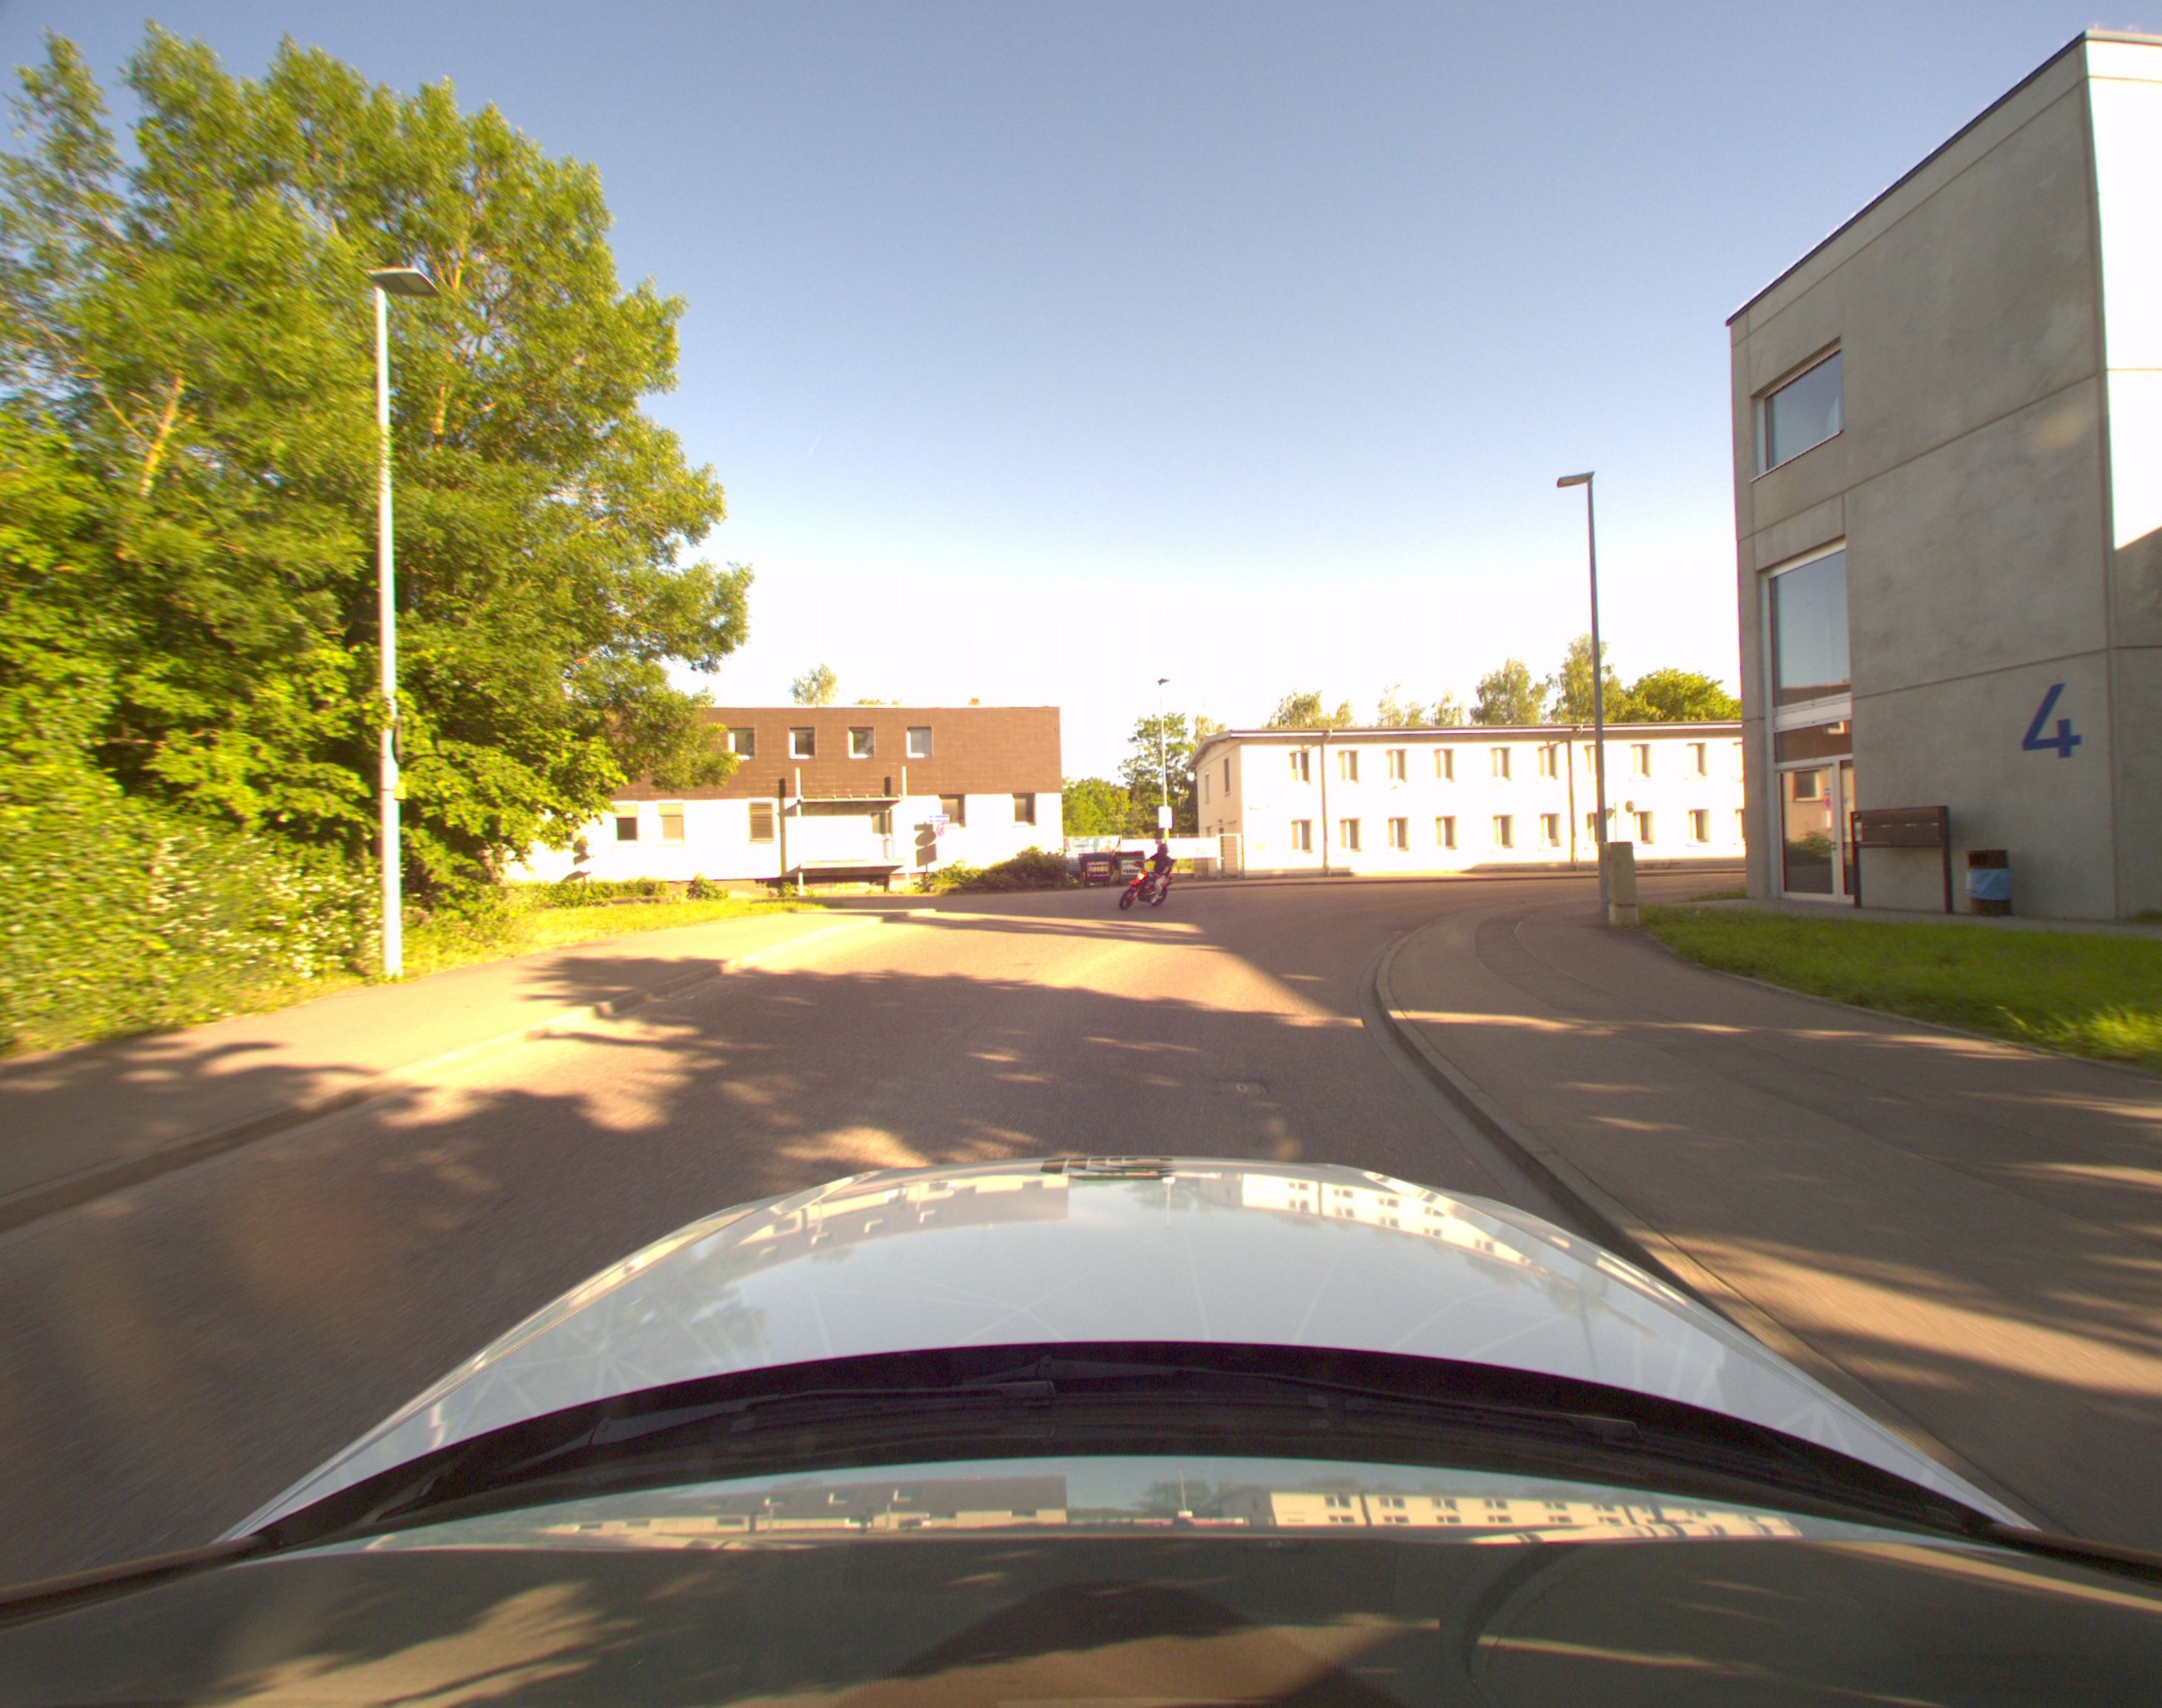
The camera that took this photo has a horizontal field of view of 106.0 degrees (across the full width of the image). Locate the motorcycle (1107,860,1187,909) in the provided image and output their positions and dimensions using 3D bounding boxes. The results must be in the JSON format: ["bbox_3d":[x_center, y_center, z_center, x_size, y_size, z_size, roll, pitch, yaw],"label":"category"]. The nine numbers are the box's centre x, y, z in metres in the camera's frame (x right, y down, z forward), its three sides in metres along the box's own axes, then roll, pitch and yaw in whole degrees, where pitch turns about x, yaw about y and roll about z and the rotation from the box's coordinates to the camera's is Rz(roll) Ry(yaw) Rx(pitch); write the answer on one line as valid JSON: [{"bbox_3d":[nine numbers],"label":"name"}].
[{"bbox_3d":[1.725,0.756,21.064,2.048,1.186,0.951,0,0,-43],"label":"motorcycle"}]

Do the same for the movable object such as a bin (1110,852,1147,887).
[{"bbox_3d":[1.969,0.653,34.177,1.364,1.418,1.063,1,-1,-8],"label":"movable object such as a bin"}]

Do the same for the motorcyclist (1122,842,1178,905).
[{"bbox_3d":[1.778,0.497,21.102,0.903,1.553,1.018,2,1,-43],"label":"motorcyclist"}]

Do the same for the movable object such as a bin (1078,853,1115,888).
[{"bbox_3d":[0.619,0.683,33.729,1.364,1.418,1.063,1,-1,-8],"label":"movable object such as a bin"}]
